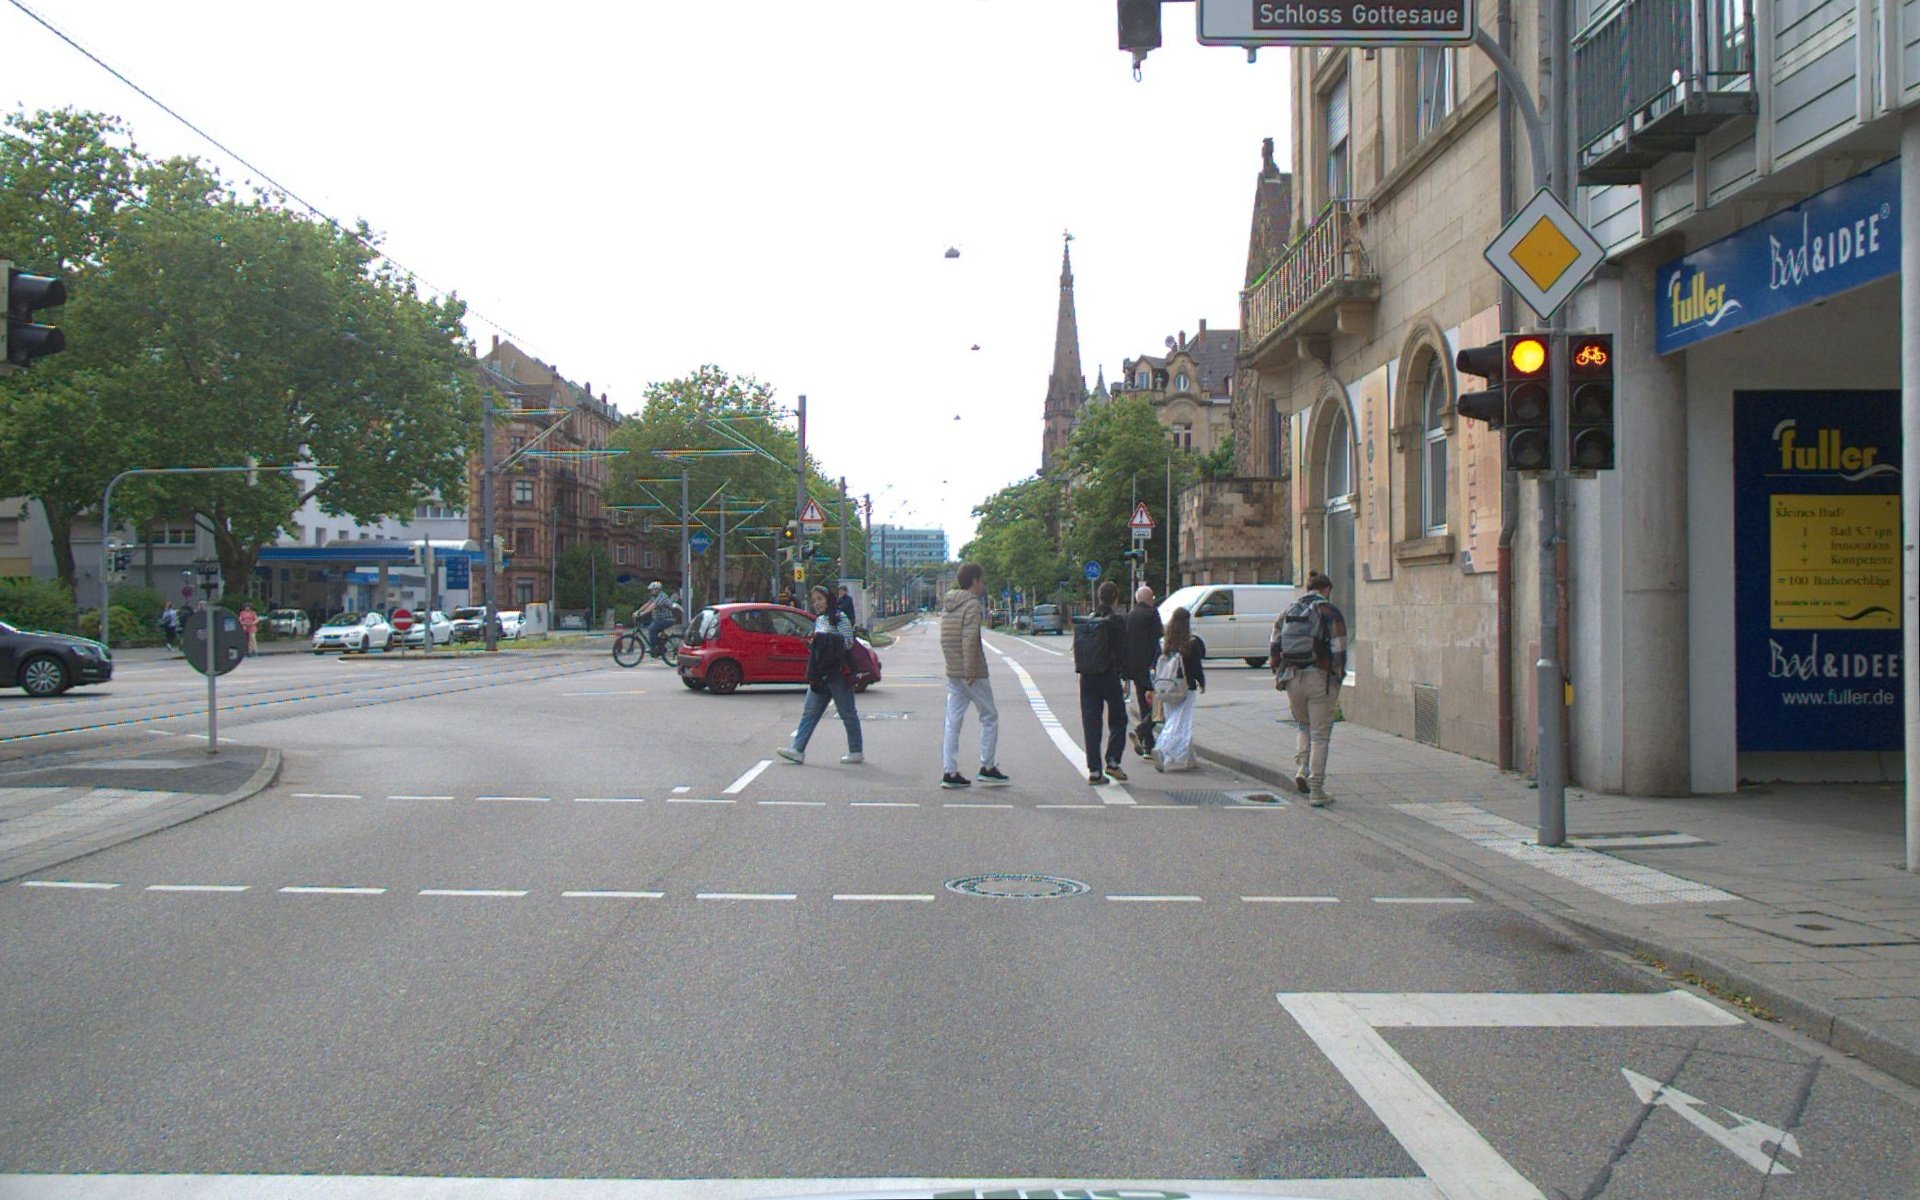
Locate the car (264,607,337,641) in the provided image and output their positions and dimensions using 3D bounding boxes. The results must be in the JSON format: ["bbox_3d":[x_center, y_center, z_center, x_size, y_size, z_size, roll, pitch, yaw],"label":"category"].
[{"bbox_3d":[-31.861,1.147,80.075,1.953,1.557,3.999,1,0,-1],"label":"car"}]

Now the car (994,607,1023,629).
[{"bbox_3d":[3.752,1.376,128.615,1.953,1.635,4.163,-2,0,-1],"label":"car"}]

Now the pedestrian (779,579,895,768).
[{"bbox_3d":[-1.149,0.670,15.524,0.659,1.709,0.864,0,-1,38],"label":"pedestrian"}]

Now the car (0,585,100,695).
[{"bbox_3d":[-15.356,0.568,24.798,4.274,1.614,1.796,1,-1,-27],"label":"car"}]

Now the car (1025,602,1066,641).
[{"bbox_3d":[4.640,1.164,90.180,1.953,2.049,3.999,1,-1,-1],"label":"car"}]

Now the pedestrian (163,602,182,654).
[{"bbox_3d":[-27.627,0.989,58.041,0.367,1.815,0.448,1,-1,32],"label":"pedestrian"}]

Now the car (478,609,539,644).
[{"bbox_3d":[-21.530,1.257,78.969,1.856,1.585,3.835,1,-1,-1],"label":"car"}]

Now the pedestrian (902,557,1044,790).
[{"bbox_3d":[0.102,0.593,13.602,0.998,1.845,0.580,1,-1,-24],"label":"pedestrian"}]

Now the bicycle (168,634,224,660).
[{"bbox_3d":[-24.956,1.525,54.022,1.645,0.786,0.656,1,-1,20],"label":"bicycle"}]

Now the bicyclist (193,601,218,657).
[{"bbox_3d":[-24.621,0.946,53.996,0.522,1.815,0.470,1,-1,19],"label":"bicyclist"}]

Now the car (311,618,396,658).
[{"bbox_3d":[-21.466,1.325,58.682,1.601,1.349,3.999,1,0,-1],"label":"car"}]

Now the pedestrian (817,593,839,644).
[{"bbox_3d":[-4.128,0.578,51.771,0.640,1.564,0.465,1,-1,-5],"label":"pedestrian"}]

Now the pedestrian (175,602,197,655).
[{"bbox_3d":[-27.188,1.000,58.086,0.367,1.815,0.551,1,-1,25],"label":"pedestrian"}]

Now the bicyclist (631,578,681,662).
[{"bbox_3d":[-6.764,0.444,36.801,0.955,1.851,0.527,1,-1,-30],"label":"bicyclist"}]

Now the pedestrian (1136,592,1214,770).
[{"bbox_3d":[2.027,0.744,15.608,0.685,1.621,0.831,1,-1,7],"label":"pedestrian"}]

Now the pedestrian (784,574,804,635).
[{"bbox_3d":[-4.971,0.143,49.621,0.562,1.826,0.518,1,-1,-5],"label":"pedestrian"}]

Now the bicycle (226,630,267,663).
[{"bbox_3d":[-23.528,1.521,54.532,0.511,1.035,1.936,1,-1,-1],"label":"bicycle"}]

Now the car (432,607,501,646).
[{"bbox_3d":[-21.460,1.140,72.076,1.856,1.585,3.835,1,-1,-1],"label":"car"}]

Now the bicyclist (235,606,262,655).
[{"bbox_3d":[-23.592,0.999,54.852,0.576,1.595,0.618,1,-1,-1],"label":"bicyclist"}]

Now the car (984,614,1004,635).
[{"bbox_3d":[3.519,2.543,172.470,1.953,2.049,3.999,1,-1,-1],"label":"car"}]

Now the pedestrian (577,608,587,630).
[{"bbox_3d":[-26.697,1.346,116.780,0.520,1.486,0.446,2,-1,-38],"label":"pedestrian"}]

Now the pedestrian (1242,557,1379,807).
[{"bbox_3d":[2.686,0.601,12.619,0.616,1.810,1.129,-1,-1,36],"label":"pedestrian"}]

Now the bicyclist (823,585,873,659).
[{"bbox_3d":[-2.673,0.525,39.387,1.023,1.713,0.641,1,-1,-21],"label":"bicyclist"}]

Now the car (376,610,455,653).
[{"bbox_3d":[-21.391,1.213,65.096,1.856,1.585,3.835,1,-1,-1],"label":"car"}]

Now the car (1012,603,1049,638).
[{"bbox_3d":[4.210,1.232,99.811,1.953,2.049,3.999,1,-1,-1],"label":"car"}]

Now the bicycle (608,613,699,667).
[{"bbox_3d":[-6.813,0.886,36.769,1.880,1.162,0.622,1,-1,-30],"label":"bicycle"}]

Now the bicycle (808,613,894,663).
[{"bbox_3d":[-2.588,0.896,39.407,1.910,1.155,0.731,1,-1,-22],"label":"bicycle"}]

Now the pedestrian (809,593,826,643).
[{"bbox_3d":[-4.502,0.566,52.260,0.535,1.564,0.465,1,-1,-5],"label":"pedestrian"}]

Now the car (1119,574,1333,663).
[{"bbox_3d":[6.349,0.463,39.363,4.805,2.001,1.972,1,-1,-27],"label":"car"}]

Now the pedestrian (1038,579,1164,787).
[{"bbox_3d":[1.203,0.679,13.962,0.616,1.681,0.993,0,-1,36],"label":"pedestrian"}]

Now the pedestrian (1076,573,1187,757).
[{"bbox_3d":[1.749,0.641,16.868,0.900,1.815,0.645,0,-1,37],"label":"pedestrian"}]
